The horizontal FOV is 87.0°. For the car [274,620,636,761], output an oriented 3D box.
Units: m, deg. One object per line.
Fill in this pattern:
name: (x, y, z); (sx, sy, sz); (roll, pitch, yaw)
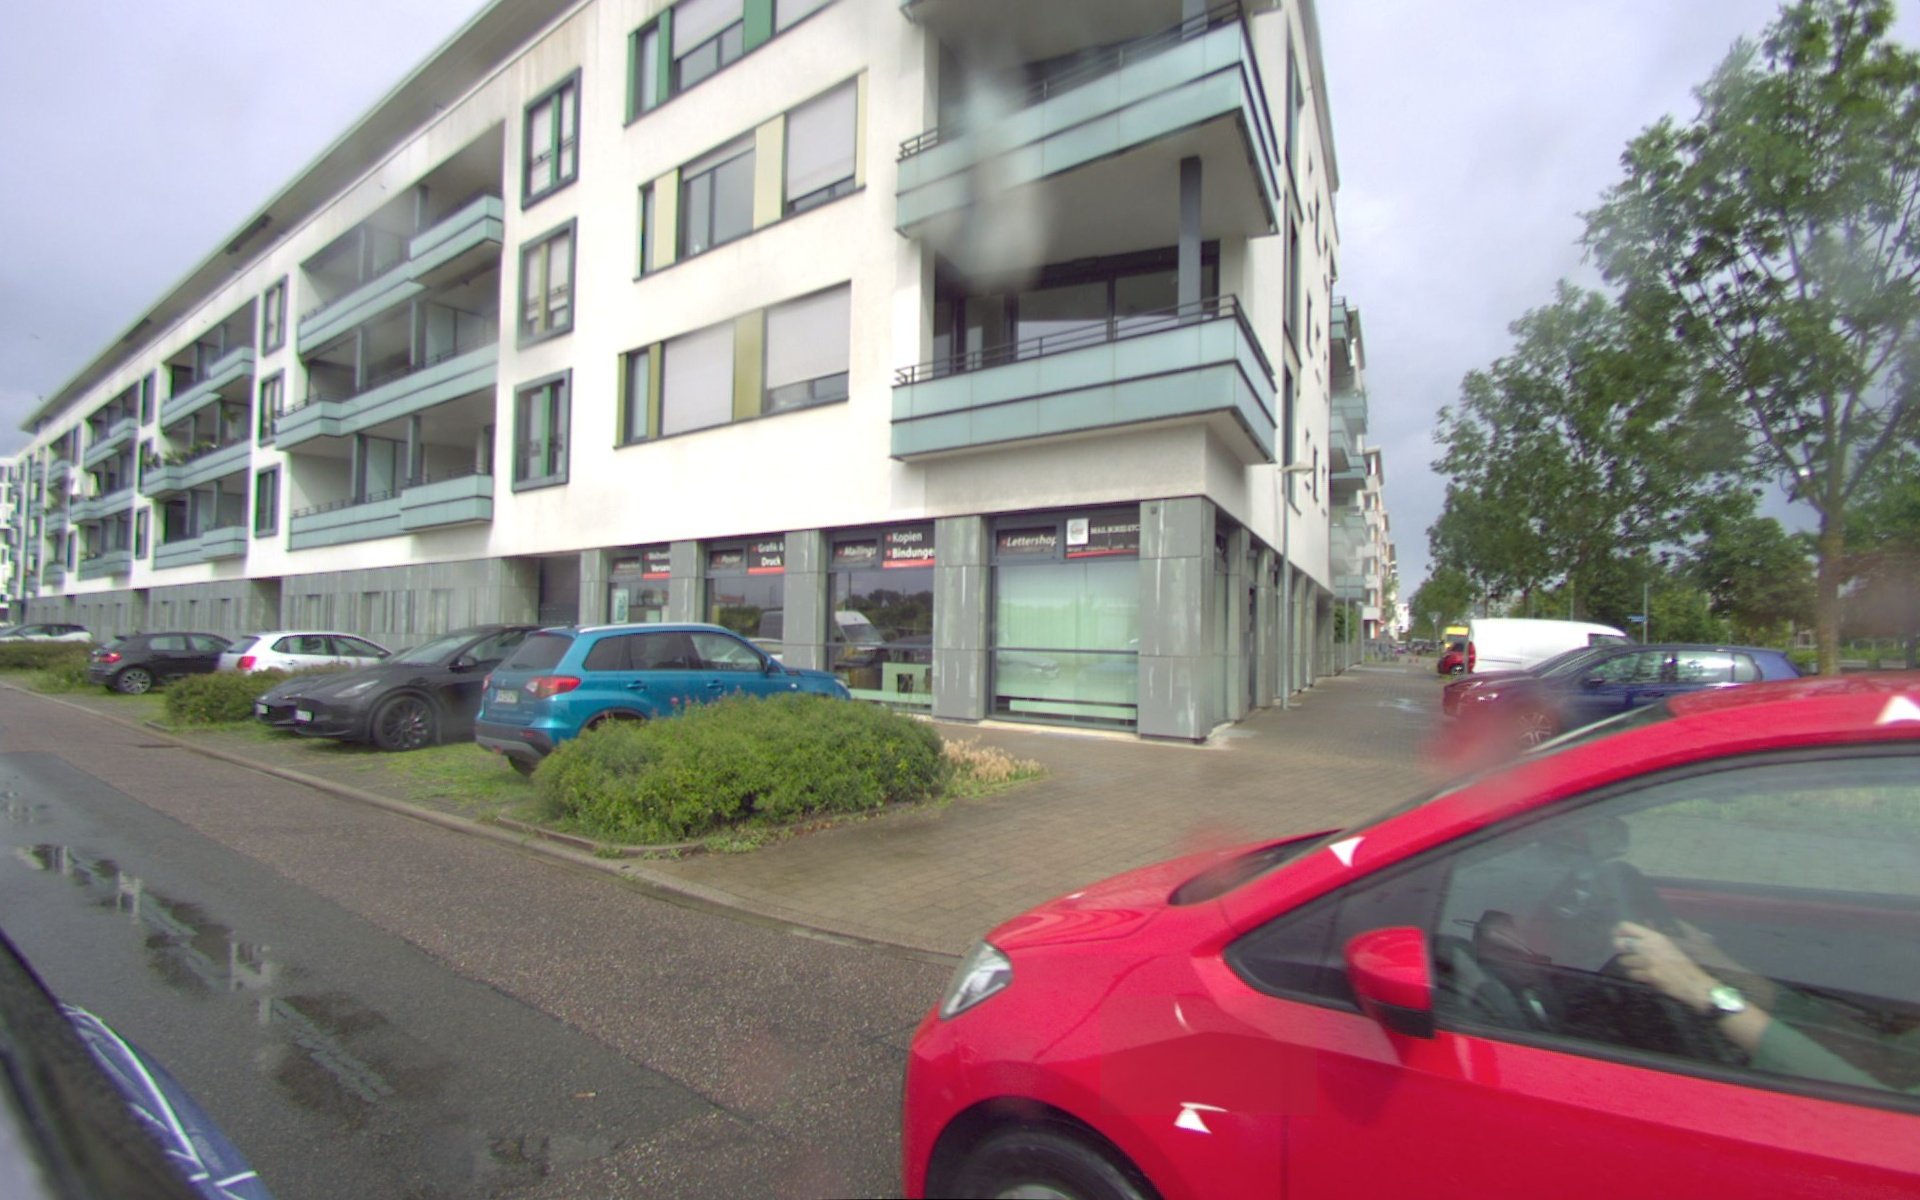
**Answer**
car: (-6.842, 1.107, 14.074); (1.858, 1.561, 4.131); (-1, 0, 39)

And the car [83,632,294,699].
car: (-18.026, 1.467, 23.772); (1.644, 1.383, 3.692); (-1, -1, 41)

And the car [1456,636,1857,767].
car: (9.033, 1.264, 13.579); (4.162, 1.407, 1.631); (1, 0, 23)

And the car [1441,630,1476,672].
car: (34.685, 3.495, 70.339); (1.957, 2.633, 6.578); (1, 0, 28)

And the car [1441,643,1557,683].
car: (22.778, 2.651, 42.942); (4.158, 1.547, 1.630); (0, -3, 23)

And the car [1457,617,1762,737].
car: (11.345, 1.277, 18.042); (4.322, 1.849, 1.631); (1, 0, 23)

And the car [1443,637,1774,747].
car: (9.910, 1.354, 15.864); (4.103, 1.407, 1.675); (1, 0, 23)

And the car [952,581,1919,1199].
car: (1.808, 0.749, 1.446); (3.385, 1.479, 1.640); (-1, -3, 39)

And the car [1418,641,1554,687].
car: (18.734, 2.258, 36.246); (4.158, 1.407, 1.631); (1, 0, 23)

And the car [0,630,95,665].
car: (-40.314, 2.063, 44.116); (1.743, 1.381, 3.751); (-1, 0, 40)

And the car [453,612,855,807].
car: (-3.123, 0.985, 10.856); (1.755, 1.646, 3.769); (-1, 0, 43)

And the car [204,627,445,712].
car: (-12.285, 1.278, 19.729); (1.684, 1.388, 3.623); (-2, -1, 37)

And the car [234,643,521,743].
car: (-8.929, 1.354, 15.720); (1.538, 1.192, 3.568); (-1, 0, 39)
